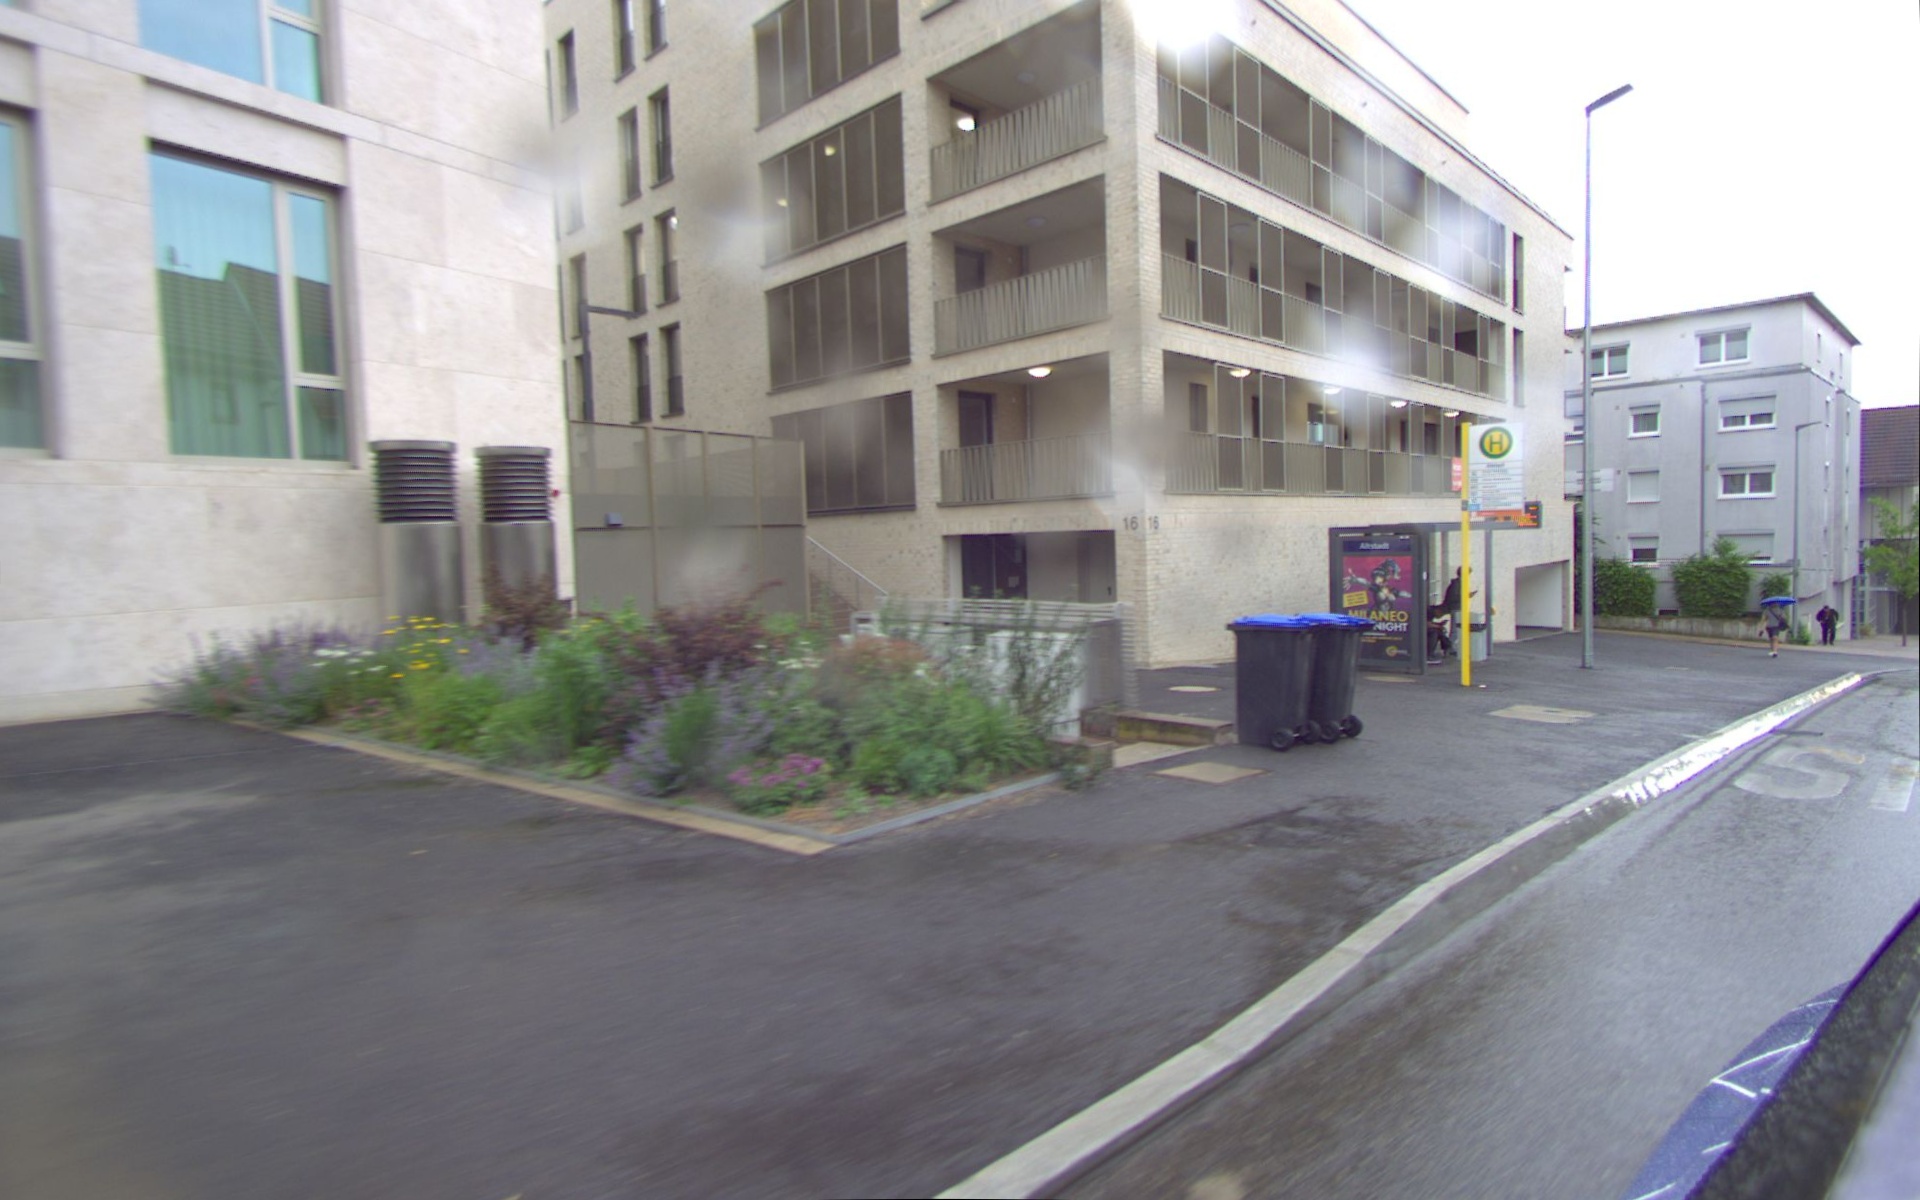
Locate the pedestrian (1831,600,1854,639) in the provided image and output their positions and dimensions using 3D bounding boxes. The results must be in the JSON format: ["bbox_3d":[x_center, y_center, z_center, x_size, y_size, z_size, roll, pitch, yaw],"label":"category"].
[{"bbox_3d":[36.403,0.808,41.763,0.689,1.575,0.700,1,0,41],"label":"pedestrian"}]

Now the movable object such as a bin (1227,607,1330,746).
[{"bbox_3d":[2.637,0.604,8.378,0.569,1.075,0.596,1,1,-43],"label":"movable object such as a bin"}]

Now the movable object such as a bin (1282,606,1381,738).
[{"bbox_3d":[3.229,0.600,8.799,0.569,1.075,0.596,1,1,-43],"label":"movable object such as a bin"}]

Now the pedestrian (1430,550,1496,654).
[{"bbox_3d":[9.845,0.030,19.817,1.004,1.964,0.783,1,2,-43],"label":"pedestrian"}]

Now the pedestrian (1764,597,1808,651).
[{"bbox_3d":[24.920,0.714,30.530,1.019,1.560,0.738,1,4,-40],"label":"pedestrian"}]

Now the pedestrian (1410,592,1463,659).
[{"bbox_3d":[8.899,0.464,18.890,0.624,1.176,0.673,1,2,-43],"label":"pedestrian"}]
